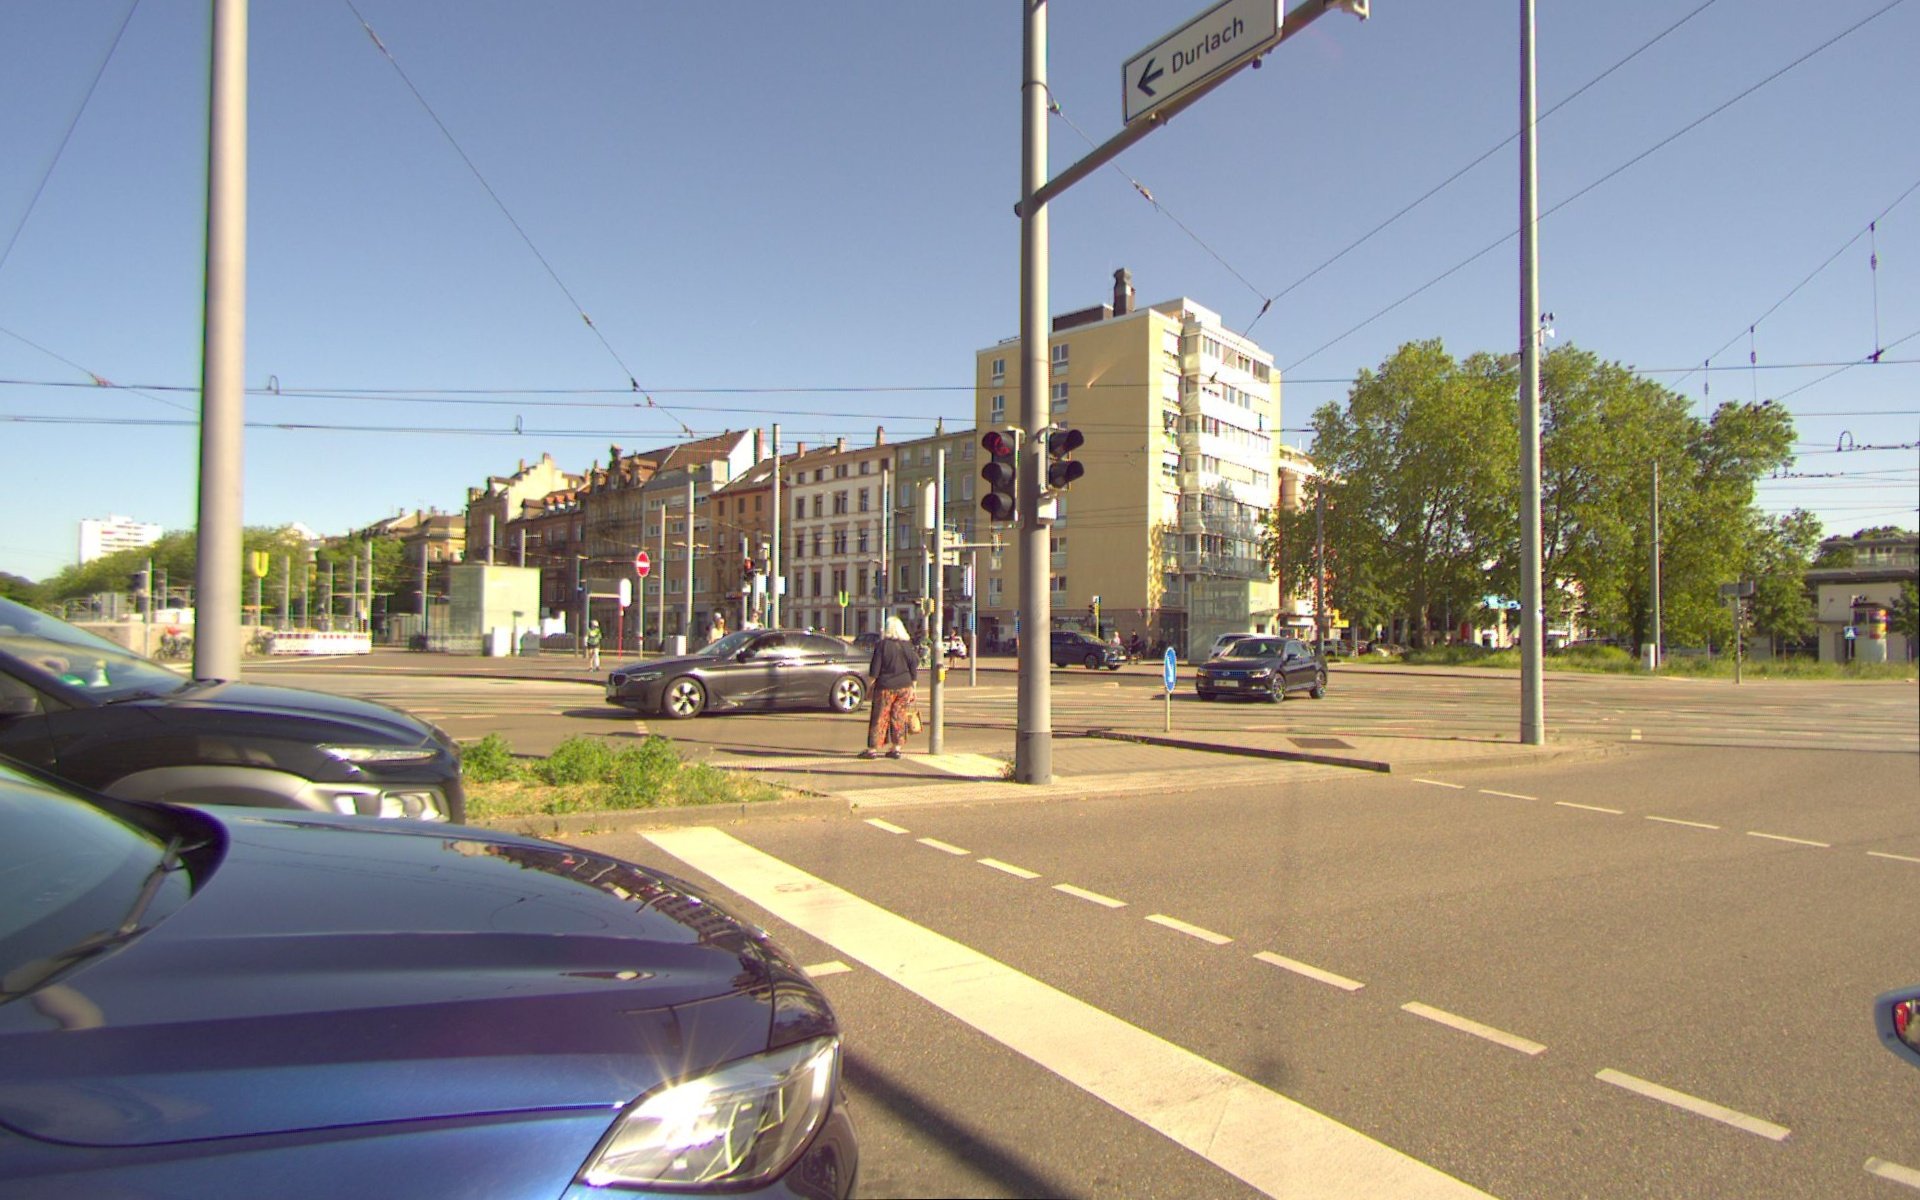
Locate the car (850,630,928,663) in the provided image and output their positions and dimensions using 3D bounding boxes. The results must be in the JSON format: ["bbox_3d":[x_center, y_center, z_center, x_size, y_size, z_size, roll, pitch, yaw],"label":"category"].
[{"bbox_3d":[-3.941,2.534,55.051,4.246,1.675,1.849,-1,-3,42],"label":"car"}]

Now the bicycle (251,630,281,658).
[{"bbox_3d":[-29.840,1.900,43.204,0.461,1.189,1.252,1,-2,-7],"label":"bicycle"}]

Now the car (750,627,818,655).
[{"bbox_3d":[-10.918,2.501,62.103,4.243,1.675,1.850,-1,-3,40],"label":"car"}]

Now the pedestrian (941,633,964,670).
[{"bbox_3d":[-0.309,2.242,43.870,0.669,1.593,0.740,2,-2,-45],"label":"pedestrian"}]

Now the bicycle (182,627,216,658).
[{"bbox_3d":[-29.583,1.642,39.059,0.461,1.189,1.252,1,-2,-7],"label":"bicycle"}]

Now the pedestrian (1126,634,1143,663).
[{"bbox_3d":[9.506,2.645,54.668,0.754,1.581,0.614,0,-2,31],"label":"pedestrian"}]

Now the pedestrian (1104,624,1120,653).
[{"bbox_3d":[8.404,2.097,55.357,0.703,1.581,0.556,0,-2,32],"label":"pedestrian"}]

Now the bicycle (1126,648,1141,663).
[{"bbox_3d":[9.413,3.011,54.459,0.451,0.790,1.808,0,-2,23],"label":"bicycle"}]

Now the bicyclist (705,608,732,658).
[{"bbox_3d":[-8.624,1.177,35.854,0.609,1.735,0.675,-1,-2,41],"label":"bicyclist"}]

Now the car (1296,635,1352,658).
[{"bbox_3d":[27.575,3.493,76.096,3.690,1.684,1.586,-1,-2,42],"label":"car"}]

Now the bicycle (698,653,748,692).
[{"bbox_3d":[-5.883,1.768,24.897,0.671,0.890,1.883,2,-2,-31],"label":"bicycle"}]

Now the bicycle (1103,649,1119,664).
[{"bbox_3d":[8.301,3.118,55.344,0.478,0.822,1.612,0,-2,23],"label":"bicycle"}]

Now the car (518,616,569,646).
[{"bbox_3d":[-40.051,2.967,96.552,5.837,2.780,2.133,-1,-3,42],"label":"car"}]

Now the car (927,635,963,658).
[{"bbox_3d":[-0.990,3.006,65.651,1.745,1.446,3.873,1,-2,-10],"label":"car"}]

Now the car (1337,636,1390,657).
[{"bbox_3d":[32.551,3.737,81.136,3.690,1.684,1.586,-1,-2,42],"label":"car"}]

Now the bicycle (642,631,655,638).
[{"bbox_3d":[-31.800,3.516,102.529,1.611,0.727,0.421,-1,-2,43],"label":"bicycle"}]

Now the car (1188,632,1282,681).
[{"bbox_3d":[9.931,2.008,36.586,1.824,1.675,4.304,1,-2,-7],"label":"car"}]

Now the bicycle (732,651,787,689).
[{"bbox_3d":[-5.059,1.742,25.270,0.672,0.890,1.880,2,-2,-35],"label":"bicycle"}]

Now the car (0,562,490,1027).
[{"bbox_3d":[-4.037,0.634,3.848,3.959,1.537,1.751,2,-1,-28],"label":"car"}]

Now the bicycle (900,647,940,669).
[{"bbox_3d":[-1.788,2.572,44.873,1.666,0.958,0.613,2,-2,-30],"label":"bicycle"}]

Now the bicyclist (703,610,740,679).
[{"bbox_3d":[-5.938,1.109,24.975,0.670,1.676,0.779,2,-2,-30],"label":"bicyclist"}]

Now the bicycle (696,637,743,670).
[{"bbox_3d":[-8.593,1.886,35.842,1.871,1.120,0.675,-1,-2,42],"label":"bicycle"}]

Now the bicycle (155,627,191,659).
[{"bbox_3d":[-29.446,1.612,37.598,0.461,1.189,1.252,1,-2,-7],"label":"bicycle"}]

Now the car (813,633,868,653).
[{"bbox_3d":[-8.665,3.132,73.149,1.749,1.446,3.863,-1,-2,39],"label":"car"}]

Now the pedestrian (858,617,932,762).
[{"bbox_3d":[-0.734,0.994,11.295,0.749,1.575,0.356,1,-2,-19],"label":"pedestrian"}]

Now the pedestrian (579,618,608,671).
[{"bbox_3d":[-12.093,1.461,33.144,0.672,1.735,0.793,2,-2,-38],"label":"pedestrian"}]

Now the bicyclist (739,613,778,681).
[{"bbox_3d":[-5.080,1.177,25.324,0.672,1.676,0.777,2,-2,-35],"label":"bicyclist"}]

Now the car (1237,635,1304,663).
[{"bbox_3d":[19.306,3.022,62.577,3.690,1.684,1.586,-1,-2,42],"label":"car"}]

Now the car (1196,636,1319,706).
[{"bbox_3d":[6.978,1.581,23.296,1.698,1.457,4.167,0,-2,32],"label":"car"}]

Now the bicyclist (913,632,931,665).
[{"bbox_3d":[-1.696,2.167,44.943,0.609,1.462,0.614,2,-2,-30],"label":"bicyclist"}]

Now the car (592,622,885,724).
[{"bbox_3d":[-3.680,1.181,17.122,4.525,1.520,1.846,2,-2,-36],"label":"car"}]

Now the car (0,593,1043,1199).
[{"bbox_3d":[-2.029,0.706,1.264,3.984,1.464,1.703,2,-1,-30],"label":"car"}]
